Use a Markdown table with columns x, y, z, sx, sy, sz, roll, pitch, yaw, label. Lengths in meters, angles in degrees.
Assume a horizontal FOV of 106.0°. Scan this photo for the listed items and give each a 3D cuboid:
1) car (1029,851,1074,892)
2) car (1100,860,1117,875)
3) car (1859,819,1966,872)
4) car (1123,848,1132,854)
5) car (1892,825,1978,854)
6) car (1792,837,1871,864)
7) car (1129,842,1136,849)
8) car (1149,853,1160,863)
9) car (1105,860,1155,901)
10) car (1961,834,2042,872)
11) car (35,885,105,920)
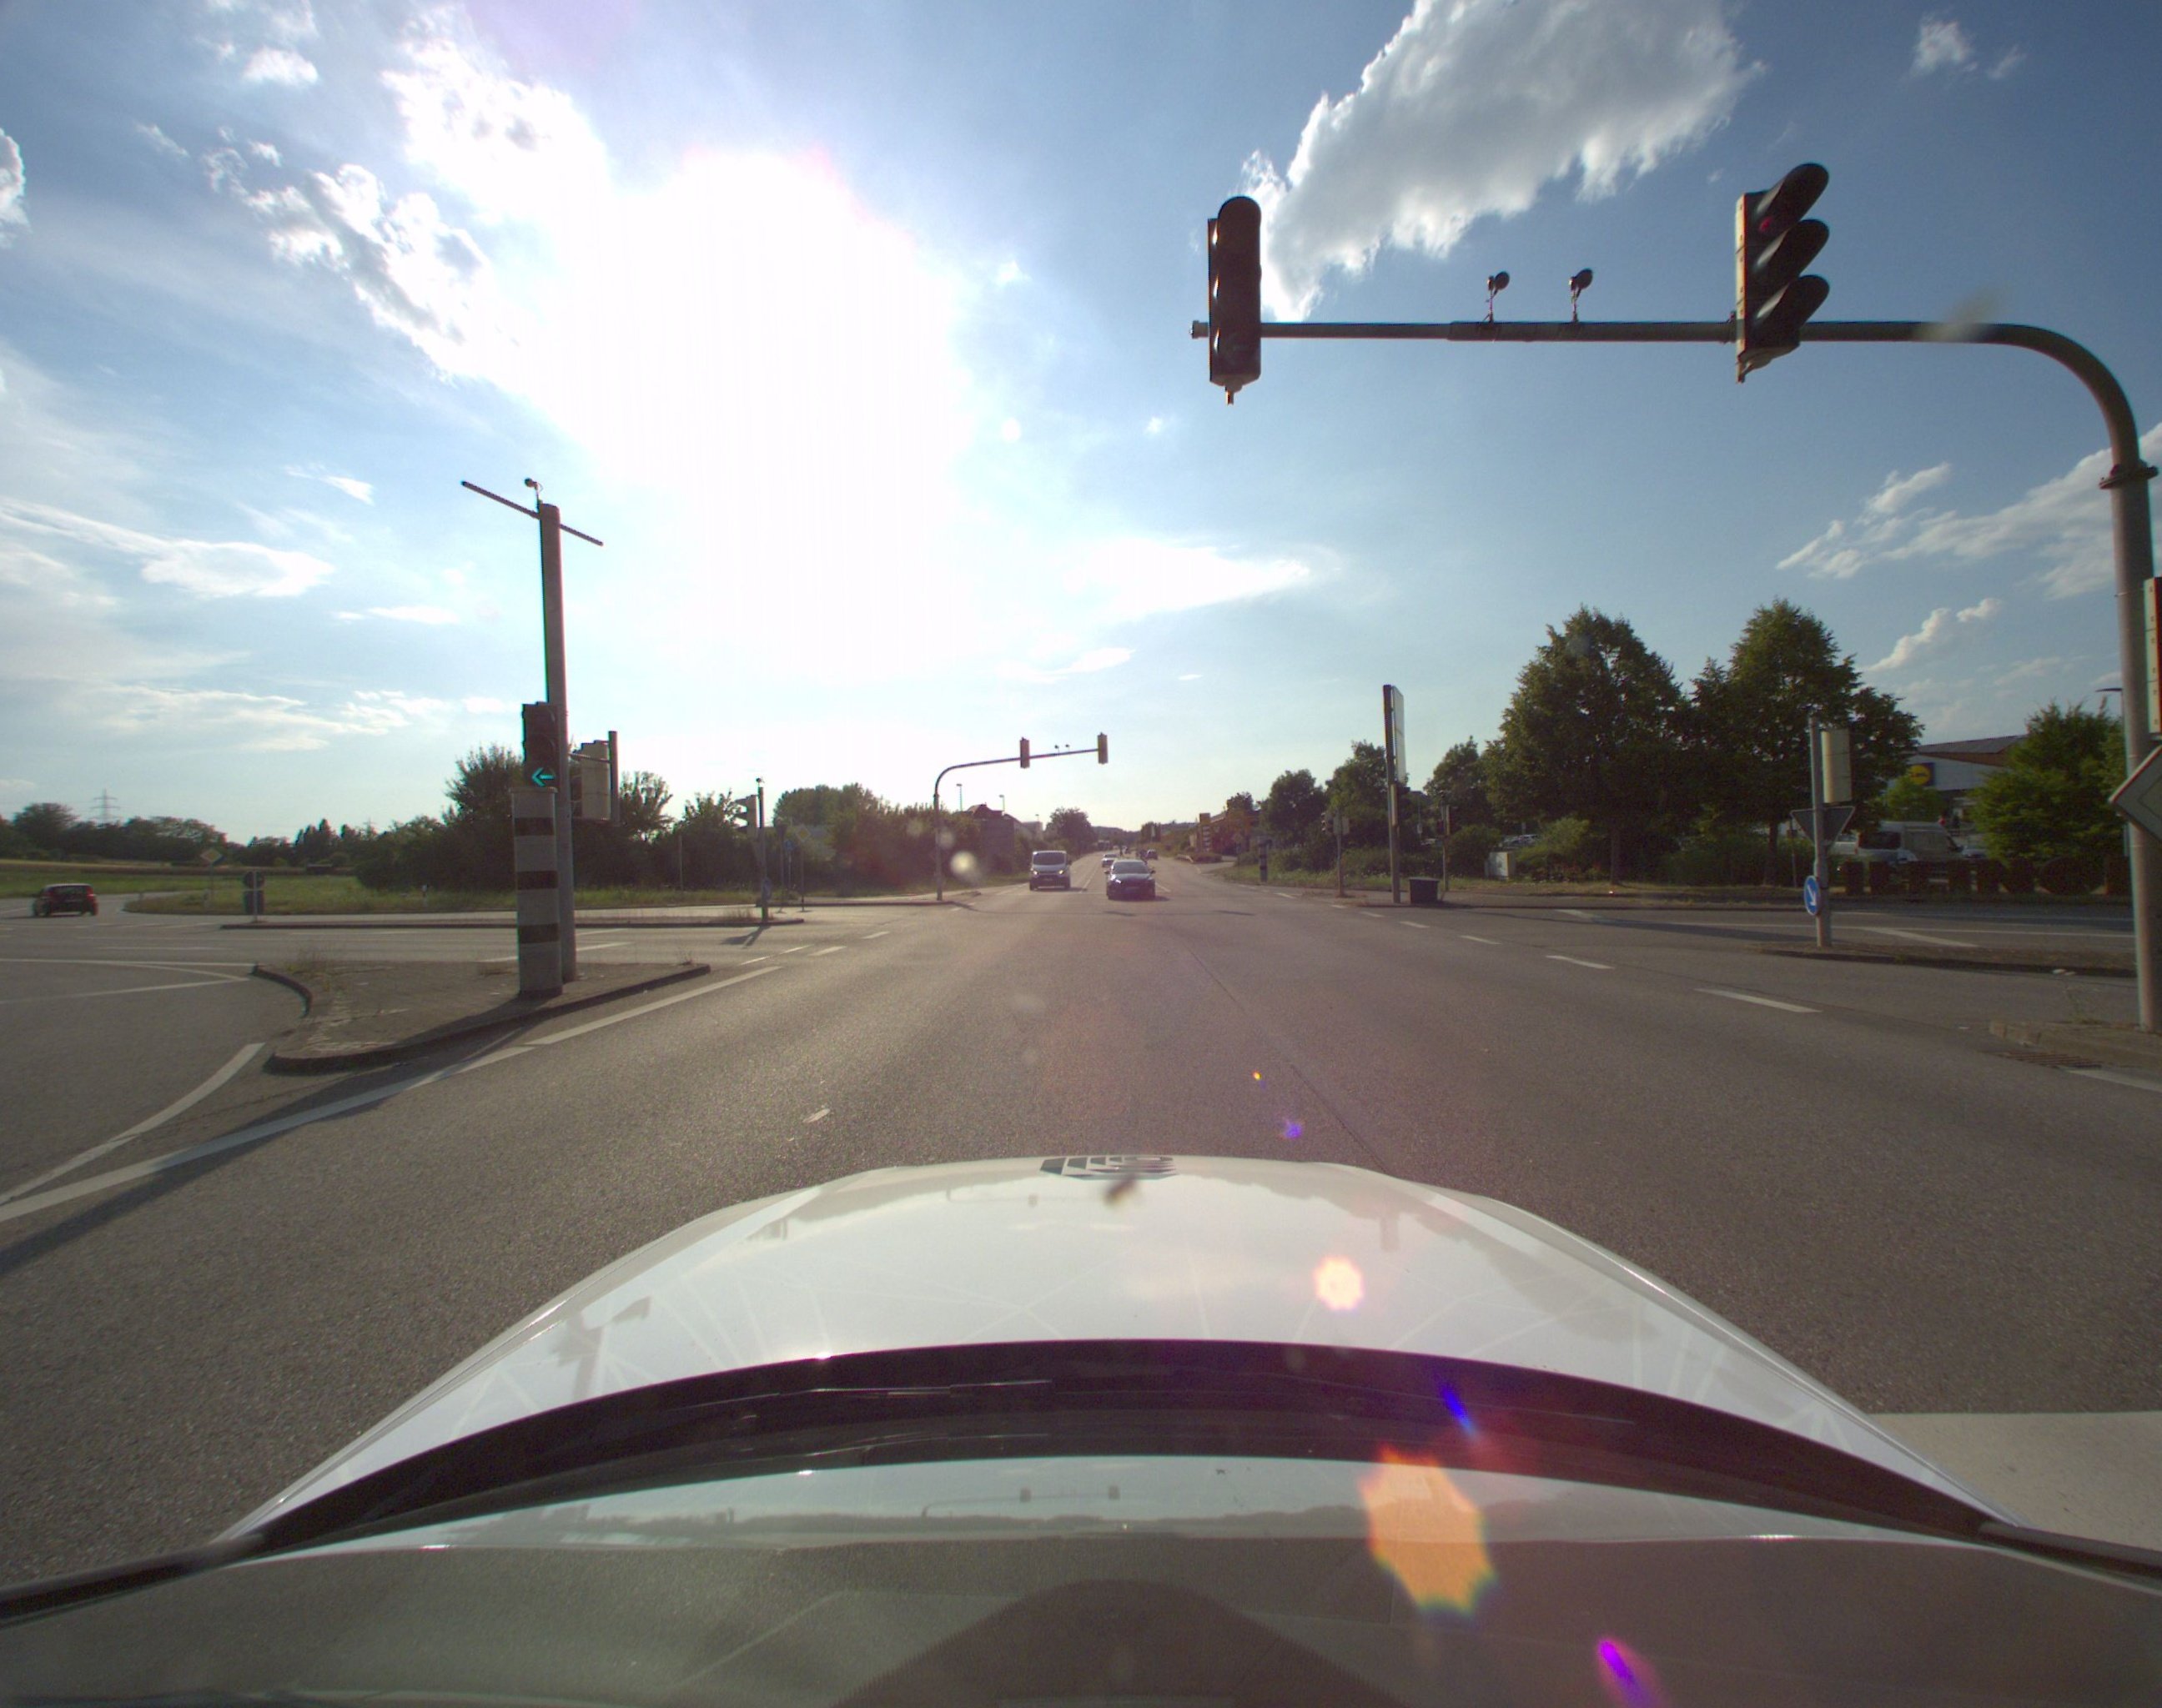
| x | y | z | sx | sy | sz | roll | pitch | yaw | label |
| --- | --- | --- | --- | --- | --- | --- | --- | --- | --- |
| -1.454 | 0.836 | 41.905 | 1.893 | 1.947 | 4.822 | 0 | 1 | 2 | car |
| 2.983 | 1.460 | 89.054 | 1.850 | 1.514 | 4.954 | 0 | -1 | 2 | car |
| 41.510 | -0.391 | 40.643 | 5.144 | 2.507 | 1.985 | 0 | -1 | -23 | car |
| 11.518 | -0.714 | 202.173 | 1.736 | 1.352 | 3.200 | 0 | -1 | -2 | car |
| 50.429 | -0.830 | 48.129 | 1.571 | 1.550 | 3.221 | 0 | -1 | -32 | car |
| 44.740 | -0.184 | 48.605 | 1.577 | 1.509 | 3.112 | 0 | -1 | -15 | car |
| 15.824 | -2.580 | 250.816 | 1.988 | 2.014 | 3.996 | 0 | -1 | -2 | car |
| 11.264 | 0.638 | 125.284 | 1.543 | 1.449 | 3.053 | 0 | -1 | 4 | car |
| 1.963 | 0.995 | 31.954 | 1.780 | 1.497 | 4.307 | -1 | -1 | 4 | car |
| 48.644 | -0.043 | 43.024 | 4.000 | 1.954 | 1.442 | 0 | -1 | -20 | car |
| -48.374 | 2.281 | 38.958 | 3.807 | 1.500 | 1.739 | -1 | -1 | 34 | car |
